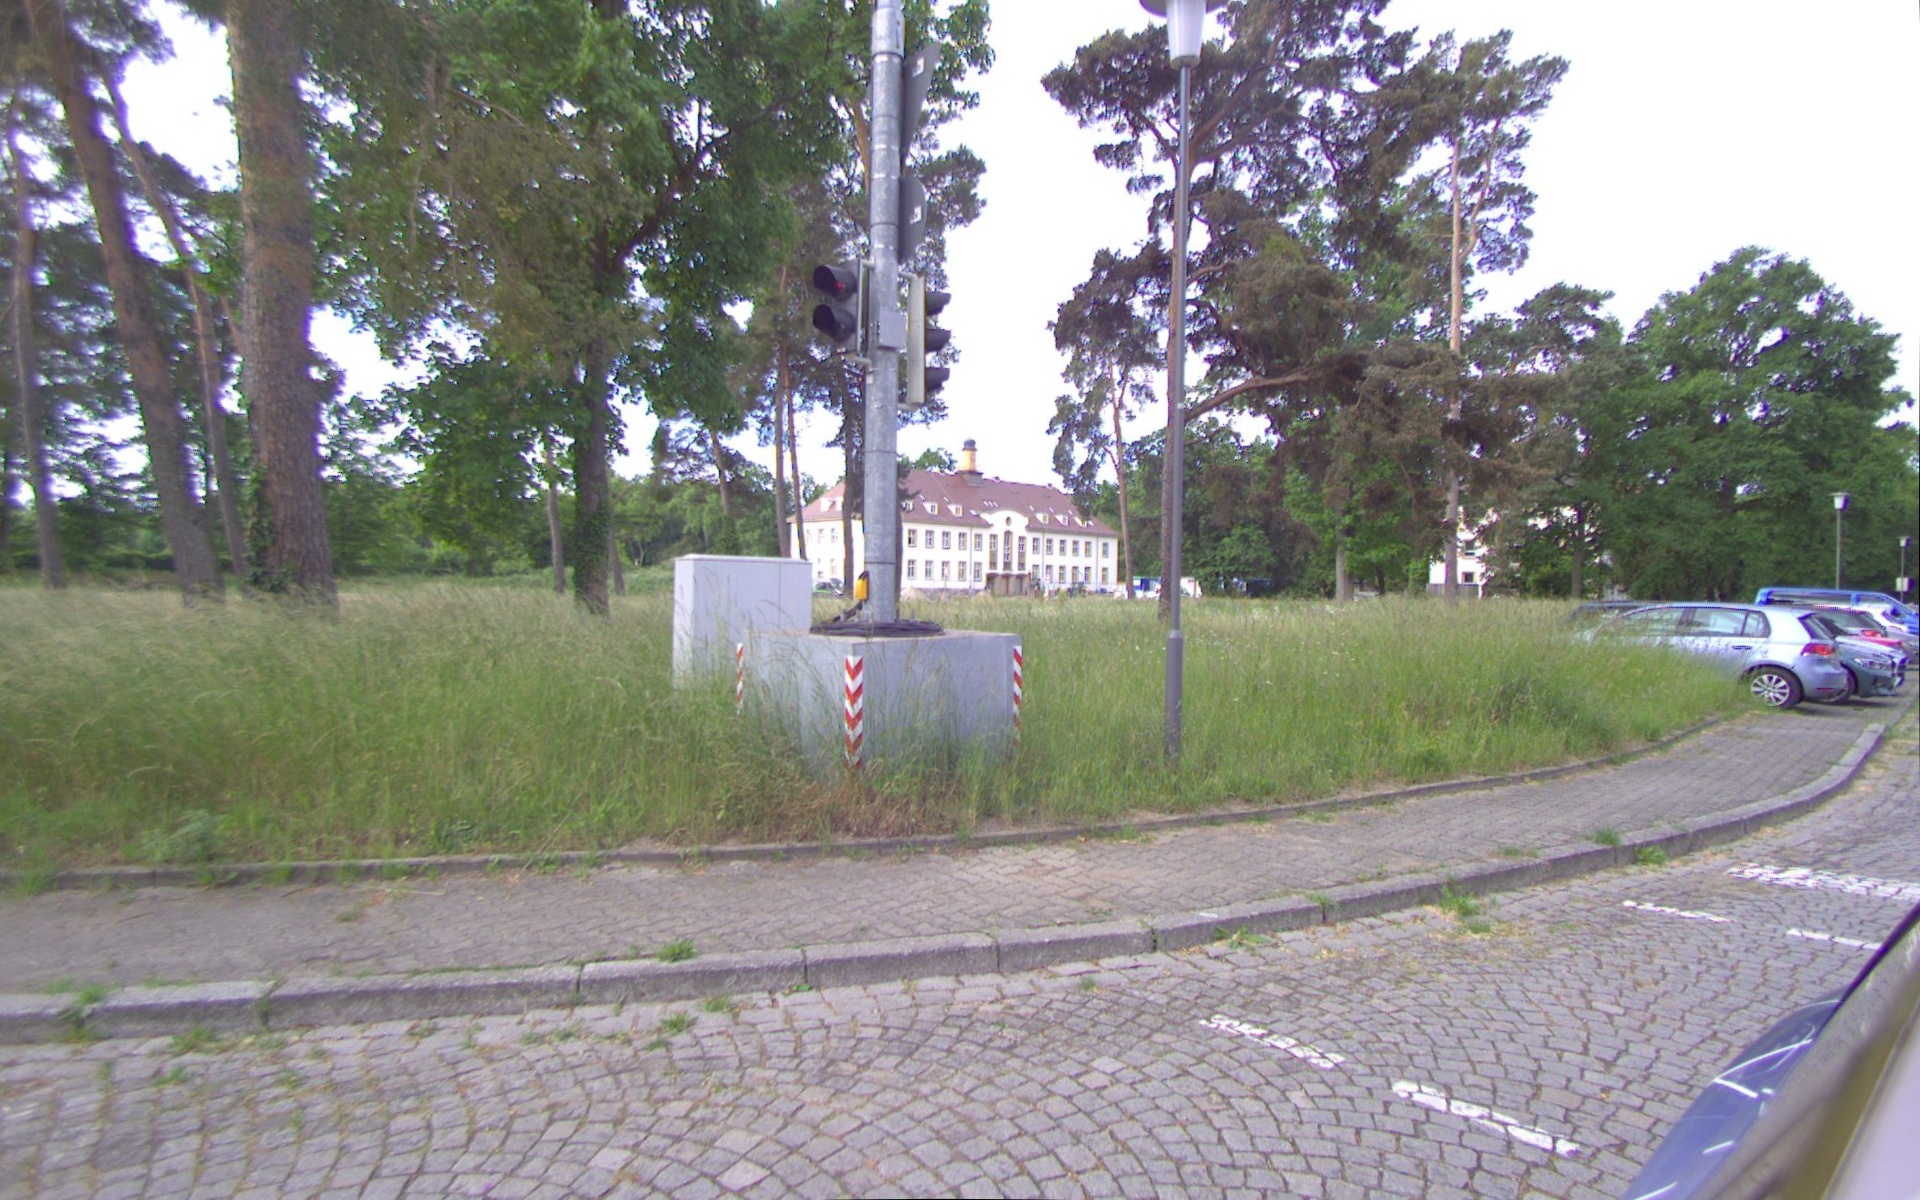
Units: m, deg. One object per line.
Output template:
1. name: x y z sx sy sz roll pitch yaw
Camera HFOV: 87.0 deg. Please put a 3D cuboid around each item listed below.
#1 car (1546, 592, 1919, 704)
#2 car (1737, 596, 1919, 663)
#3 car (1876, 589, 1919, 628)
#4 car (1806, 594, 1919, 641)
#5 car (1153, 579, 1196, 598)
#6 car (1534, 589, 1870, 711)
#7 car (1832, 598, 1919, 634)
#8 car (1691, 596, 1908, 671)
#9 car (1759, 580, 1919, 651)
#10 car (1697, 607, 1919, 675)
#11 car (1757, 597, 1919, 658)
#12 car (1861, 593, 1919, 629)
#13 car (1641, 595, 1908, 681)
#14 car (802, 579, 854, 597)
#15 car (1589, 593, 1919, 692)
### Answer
1. car: 12.642 0.672 16.813 4.758 1.501 1.734 2 1 44
2. car: 22.109 0.697 25.412 1.788 1.474 3.847 0 1 -40
3. car: 51.917 0.469 54.247 1.966 2.039 3.993 0 1 -42
4. car: 34.025 0.627 37.422 1.966 1.630 3.992 0 1 -43
5. car: 24.711 -1.333 116.639 5.132 2.039 2.152 0 1 -41
6. car: 10.855 0.637 14.993 1.579 1.444 3.768 1 2 -43
7. car: 41.199 0.697 44.625 1.966 1.549 3.991 0 0 -43
8. car: 19.702 0.711 23.834 1.770 1.524 3.779 0 1 -45
9. car: 27.818 0.446 31.189 1.967 1.963 4.743 0 2 -43
10. car: 18.139 0.817 21.665 1.469 1.222 3.596 1 1 -42
11. car: 23.957 0.690 27.504 1.609 1.470 3.405 0 1 -42
12. car: 48.630 0.563 51.432 1.966 1.784 4.004 0 1 -42
13. car: 16.263 0.679 20.350 1.769 1.470 3.967 0 1 -43
14. car: -15.125 -1.406 115.852 6.164 1.882 2.307 2 1 38
15. car: 14.666 0.681 18.800 1.782 1.501 4.763 0 1 -43
